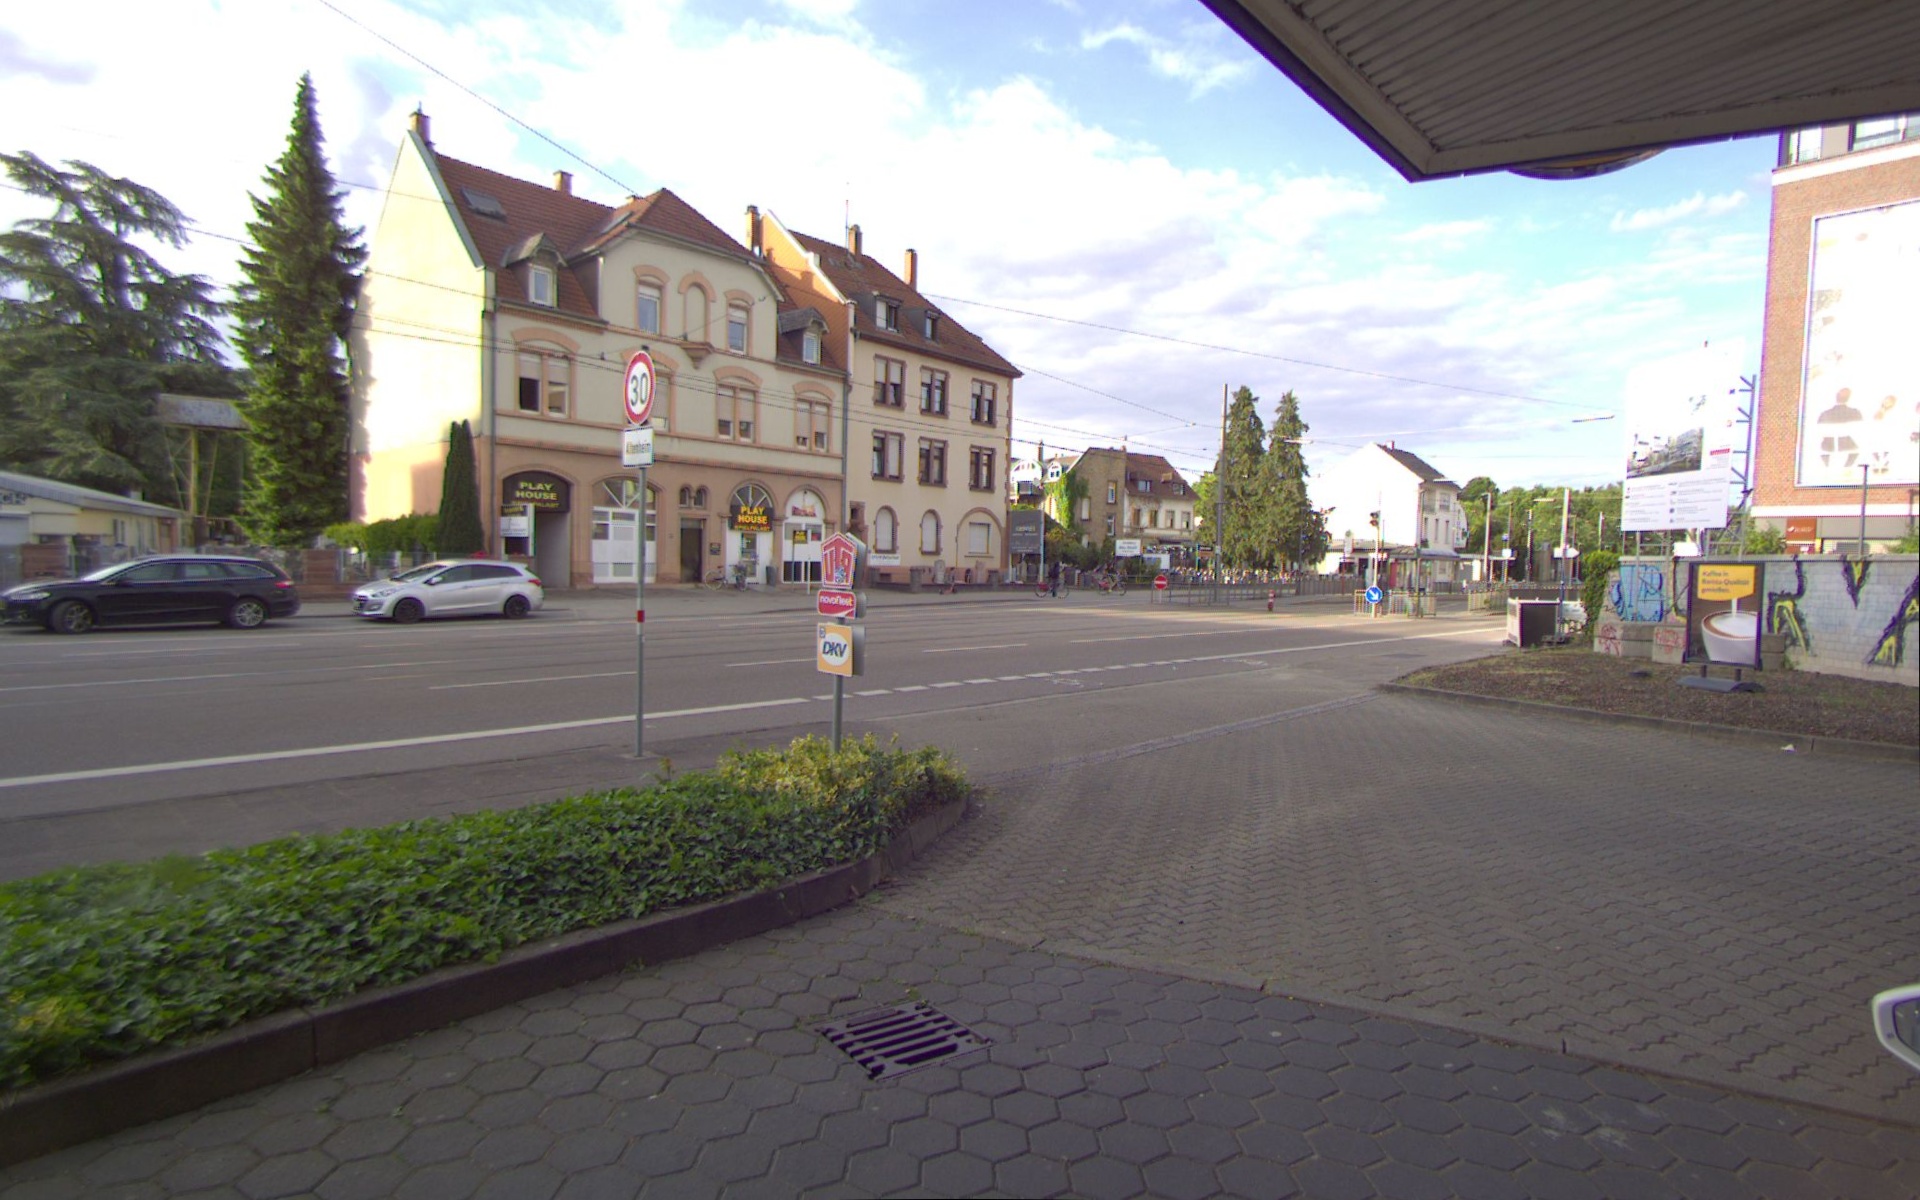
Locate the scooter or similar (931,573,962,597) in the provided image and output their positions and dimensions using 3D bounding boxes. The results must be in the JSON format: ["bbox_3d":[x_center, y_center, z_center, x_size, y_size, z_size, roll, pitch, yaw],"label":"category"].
[{"bbox_3d":[-0.599,-0.687,45.135,0.488,1.015,1.592,5,5,39],"label":"scooter or similar"}]

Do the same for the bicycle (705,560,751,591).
[{"bbox_3d":[-9.144,-0.950,39.709,0.508,1.189,1.809,4,2,40],"label":"bicycle"}]

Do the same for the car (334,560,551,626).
[{"bbox_3d":[-13.003,-0.242,25.464,1.970,1.495,4.467,3,3,40],"label":"car"}]

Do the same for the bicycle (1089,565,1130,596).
[{"bbox_3d":[7.903,-1.045,53.038,1.962,1.512,0.785,2,4,-21],"label":"bicycle"}]

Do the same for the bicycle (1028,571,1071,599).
[{"bbox_3d":[4.347,-0.711,48.574,1.884,1.219,0.839,1,6,-31],"label":"bicycle"}]

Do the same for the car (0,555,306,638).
[{"bbox_3d":[-16.571,-0.143,20.732,1.970,1.516,4.801,3,3,40],"label":"car"}]

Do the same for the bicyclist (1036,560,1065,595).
[{"bbox_3d":[4.376,-1.102,48.529,0.953,1.579,0.839,1,6,-31],"label":"bicyclist"}]

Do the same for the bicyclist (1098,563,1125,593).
[{"bbox_3d":[8.012,-1.178,53.069,1.079,1.512,0.785,2,4,-20],"label":"bicyclist"}]
